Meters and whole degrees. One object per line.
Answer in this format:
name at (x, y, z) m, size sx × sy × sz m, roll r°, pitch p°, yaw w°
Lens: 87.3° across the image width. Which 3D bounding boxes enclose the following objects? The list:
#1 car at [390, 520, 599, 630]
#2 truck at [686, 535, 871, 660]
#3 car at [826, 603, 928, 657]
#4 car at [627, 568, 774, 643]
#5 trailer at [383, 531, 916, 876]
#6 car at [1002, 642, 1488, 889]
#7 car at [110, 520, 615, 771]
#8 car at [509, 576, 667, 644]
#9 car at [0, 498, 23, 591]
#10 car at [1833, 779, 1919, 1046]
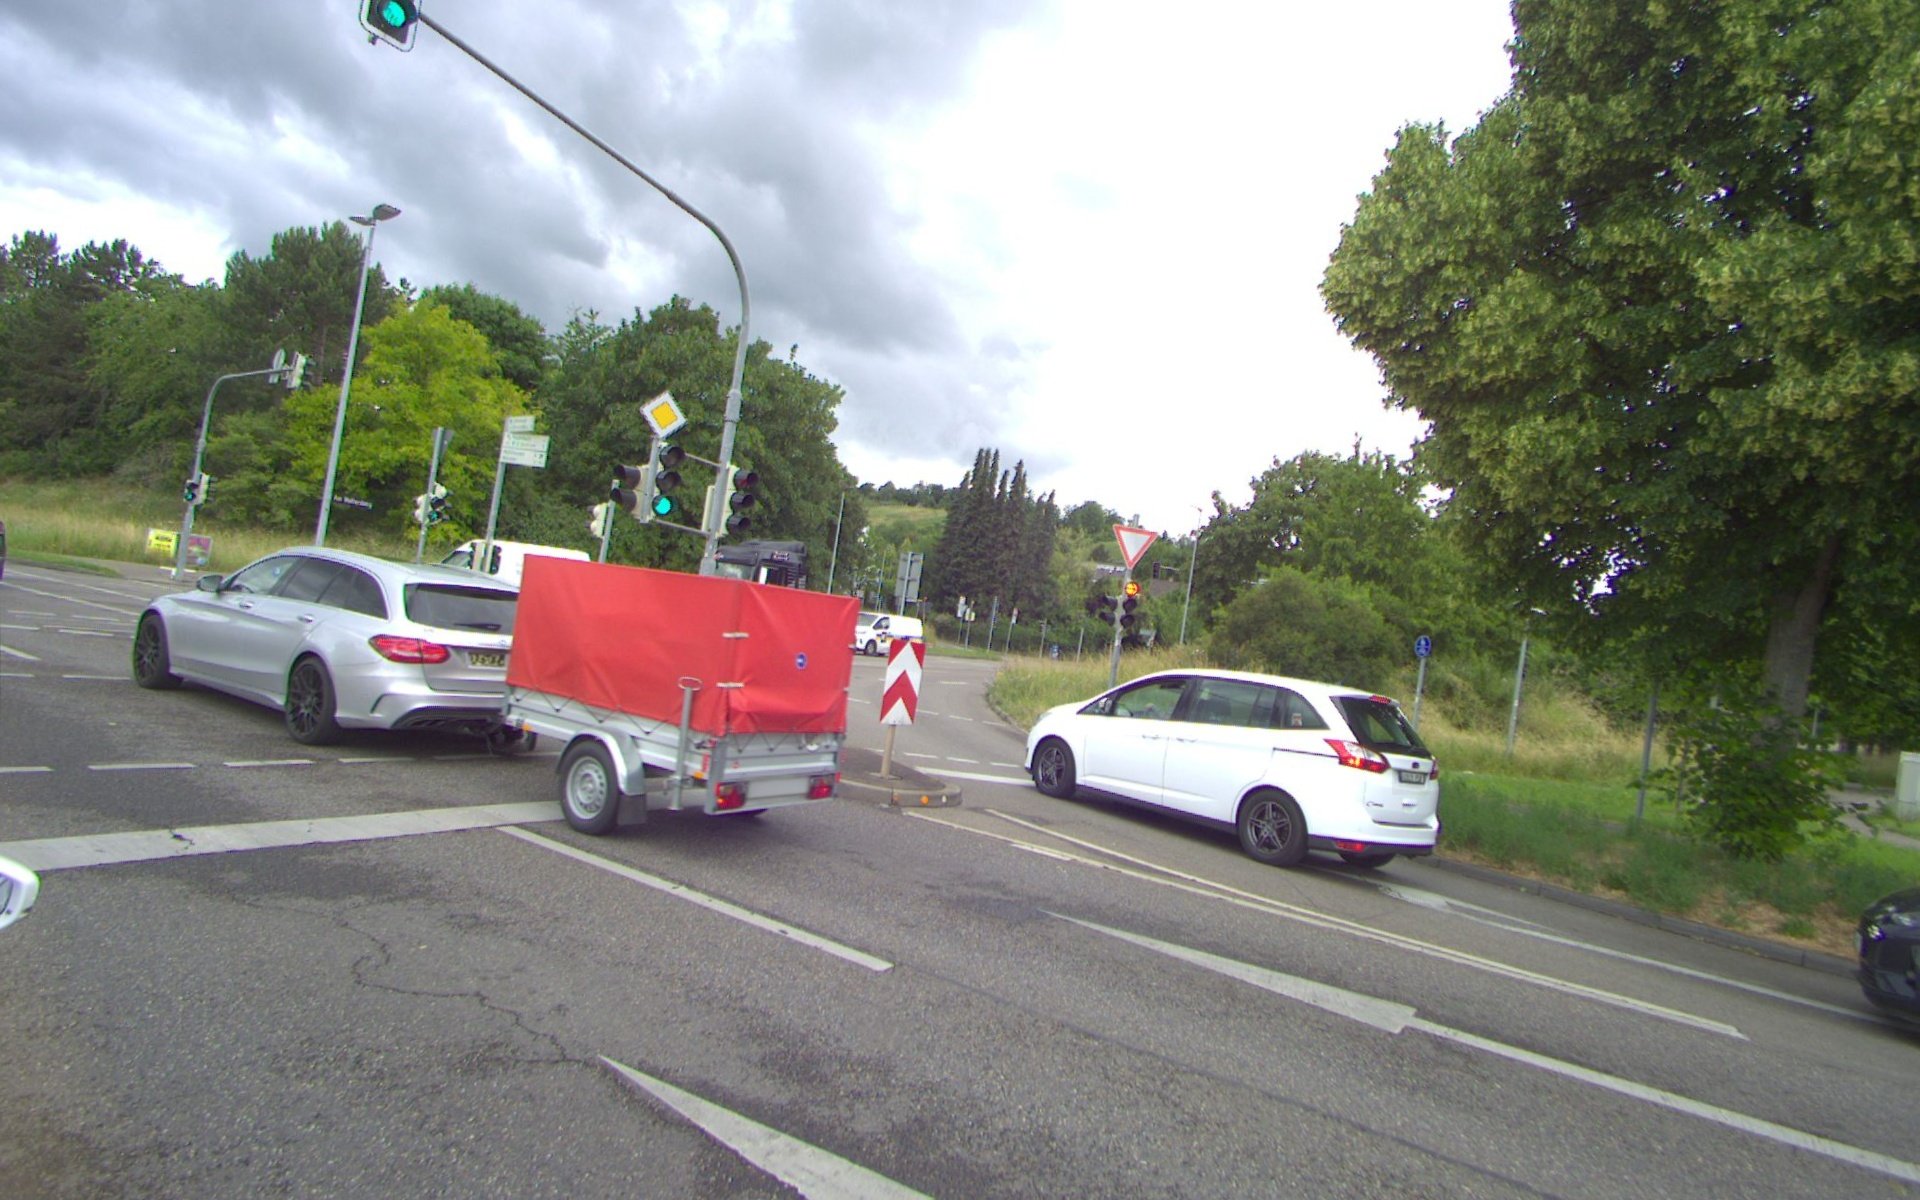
car at (-15.335, -0.731, 33.592) m, size 2.100 × 2.814 × 5.903 m, roll 7°, pitch -1°, yaw 32°
truck at (-6.210, 0.030, 35.335) m, size 2.682 × 3.580 × 6.061 m, roll 7°, pitch -1°, yaw 32°
car at (-3.712, 1.419, 45.808) m, size 1.999 × 1.918 × 4.862 m, roll 7°, pitch -1°, yaw 31°
car at (-10.424, 0.295, 40.899) m, size 2.100 × 2.316 × 5.709 m, roll 7°, pitch -1°, yaw 32°
trailer at (-2.122, 0.583, 6.876) m, size 2.992 × 1.635 × 1.768 m, roll 7°, pitch -1°, yaw 30°
car at (2.614, 1.527, 10.233) m, size 1.772 × 1.611 × 4.414 m, roll 12°, pitch -5°, yaw -37°
car at (-5.287, 0.306, 8.757) m, size 4.383 × 1.438 × 1.782 m, roll 7°, pitch -1°, yaw 31°
car at (-10.605, 0.340, 28.924) m, size 1.703 × 1.453 × 3.927 m, roll 7°, pitch -1°, yaw 31°
car at (-18.344, -1.224, 17.531) m, size 3.957 × 1.564 × 1.782 m, roll 7°, pitch -1°, yaw 31°
car at (7.136, 2.044, 5.355) m, size 3.562 × 1.445 × 1.622 m, roll 6°, pitch -5°, yaw 39°
